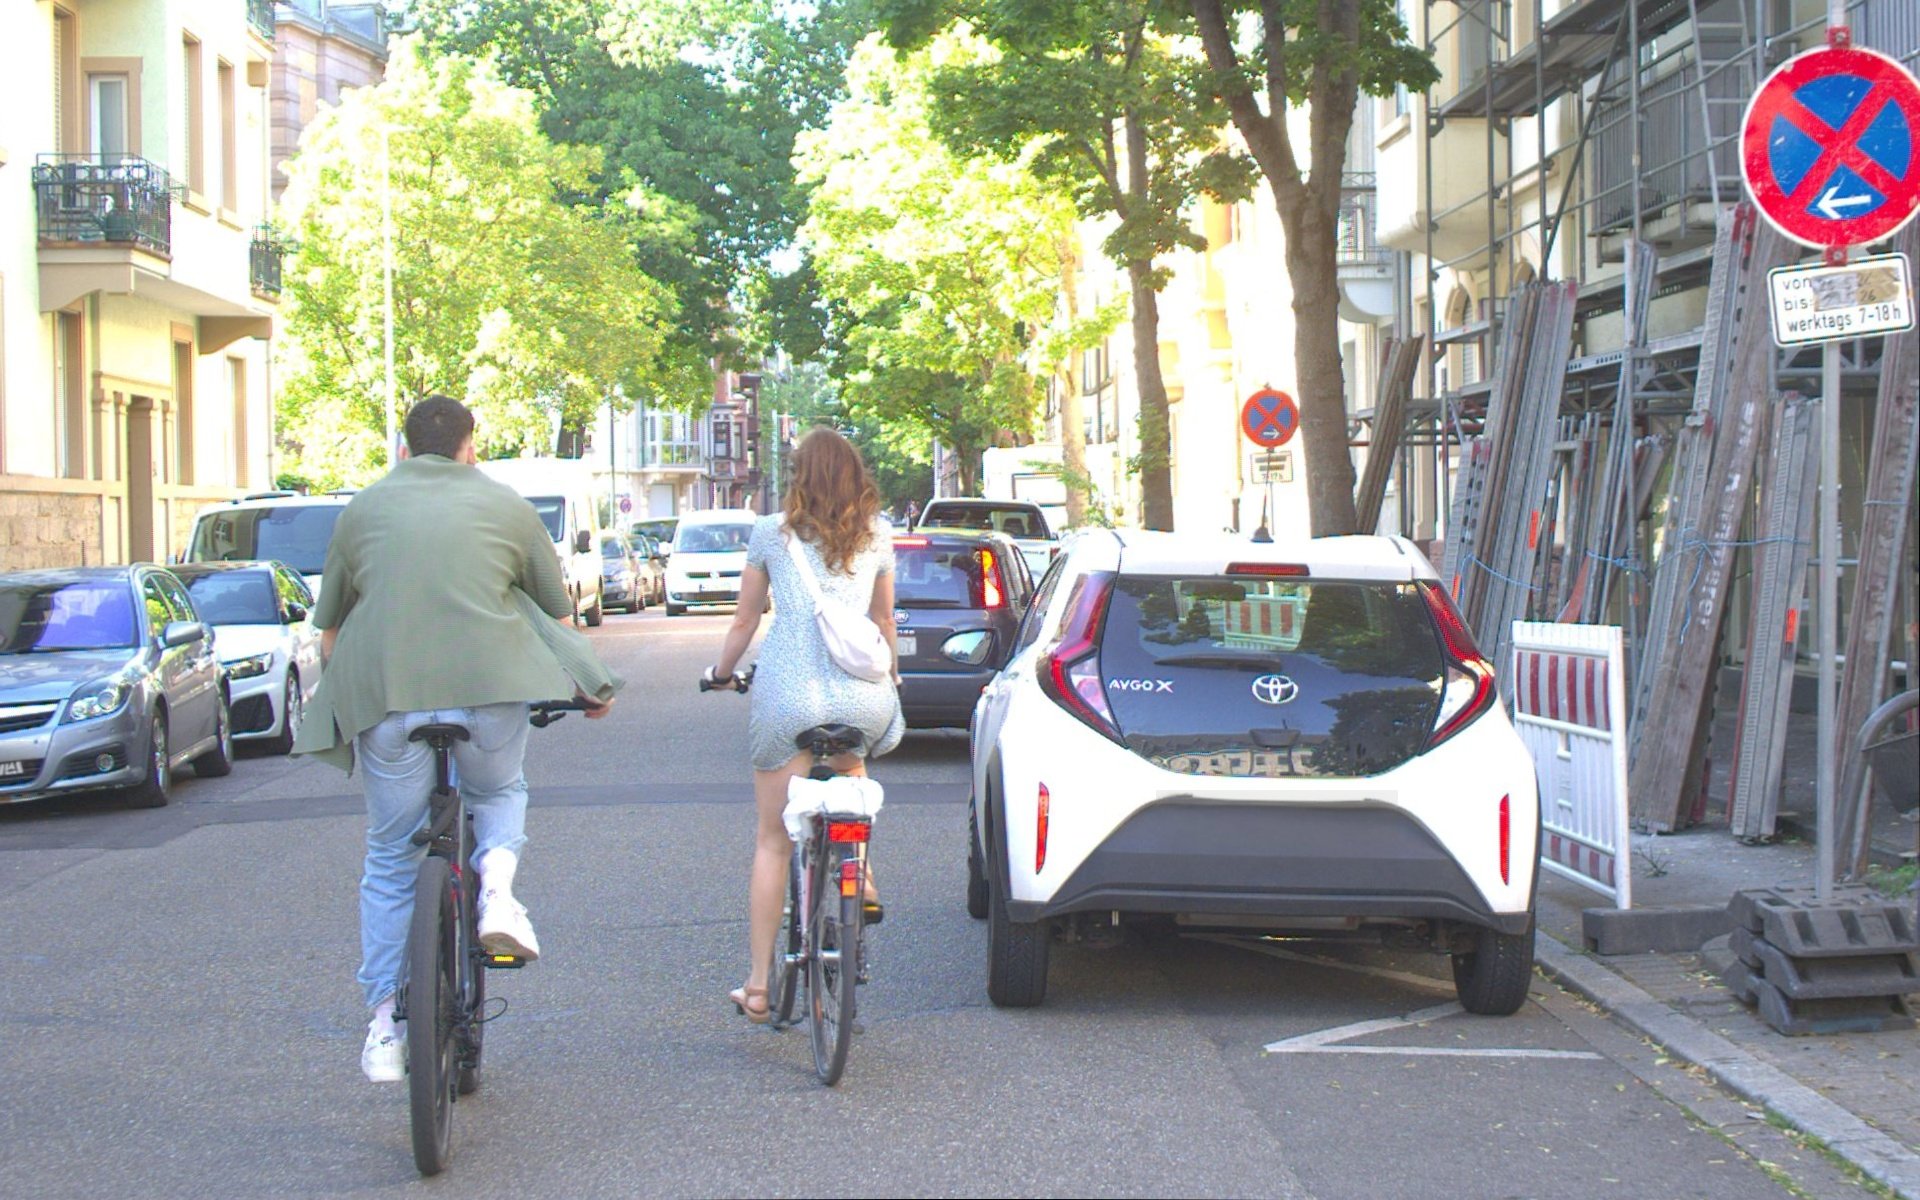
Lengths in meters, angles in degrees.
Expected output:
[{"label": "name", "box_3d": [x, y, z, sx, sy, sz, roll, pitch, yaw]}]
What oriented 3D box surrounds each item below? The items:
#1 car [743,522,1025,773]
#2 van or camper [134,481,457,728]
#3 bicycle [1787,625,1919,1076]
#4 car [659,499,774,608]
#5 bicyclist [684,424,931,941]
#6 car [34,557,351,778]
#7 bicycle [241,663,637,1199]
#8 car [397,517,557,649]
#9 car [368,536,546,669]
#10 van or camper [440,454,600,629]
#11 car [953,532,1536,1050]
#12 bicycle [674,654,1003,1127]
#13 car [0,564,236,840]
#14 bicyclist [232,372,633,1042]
[{"label": "car", "box_3d": [-0.448, 0.262, 23.408, 1.557, 1.527, 3.486, -1, 2, 4]}, {"label": "van or camper", "box_3d": [-5.960, -0.022, 31.433, 1.993, 2.006, 4.912, -2, 1, -1]}, {"label": "bicycle", "box_3d": [3.403, 0.612, 9.615, 1.979, 1.161, 0.727, -5, 2, -19]}, {"label": "car", "box_3d": [-4.272, -0.840, 60.825, 1.782, 1.854, 4.199, -1, 1, -1]}, {"label": "bicyclist", "box_3d": [-0.428, 0.241, 9.724, 0.623, 1.376, 0.868, -2, -3, -2]}, {"label": "car", "box_3d": [-5.717, 0.451, 25.997, 1.686, 1.448, 3.711, -2, 1, -3]}, {"label": "bicycle", "box_3d": [-1.269, 0.771, 8.742, 0.839, 1.145, 2.233, -2, 0, -6]}, {"label": "car", "box_3d": [-6.632, -0.279, 47.552, 1.710, 1.693, 4.001, -1, 2, -2]}, {"label": "car", "box_3d": [-6.217, -0.010, 42.868, 1.710, 1.499, 4.001, -1, 2, -2]}, {"label": "van or camper", "box_3d": [-6.785, -0.933, 53.480, 1.993, 2.544, 5.024, -1, 2, -2]}, {"label": "car", "box_3d": [0.846, 0.538, 11.965, 1.675, 1.540, 3.404, 0, 1, -1]}, {"label": "bicycle", "box_3d": [-0.397, 0.768, 9.975, 0.839, 1.145, 2.233, 0, 1, -4]}, {"label": "car", "box_3d": [-5.681, 0.555, 20.882, 1.978, 1.450, 4.115, -2, 1, -5]}, {"label": "bicyclist", "box_3d": [-1.290, 0.262, 8.572, 0.881, 1.556, 0.868, -2, -2, -4]}]
